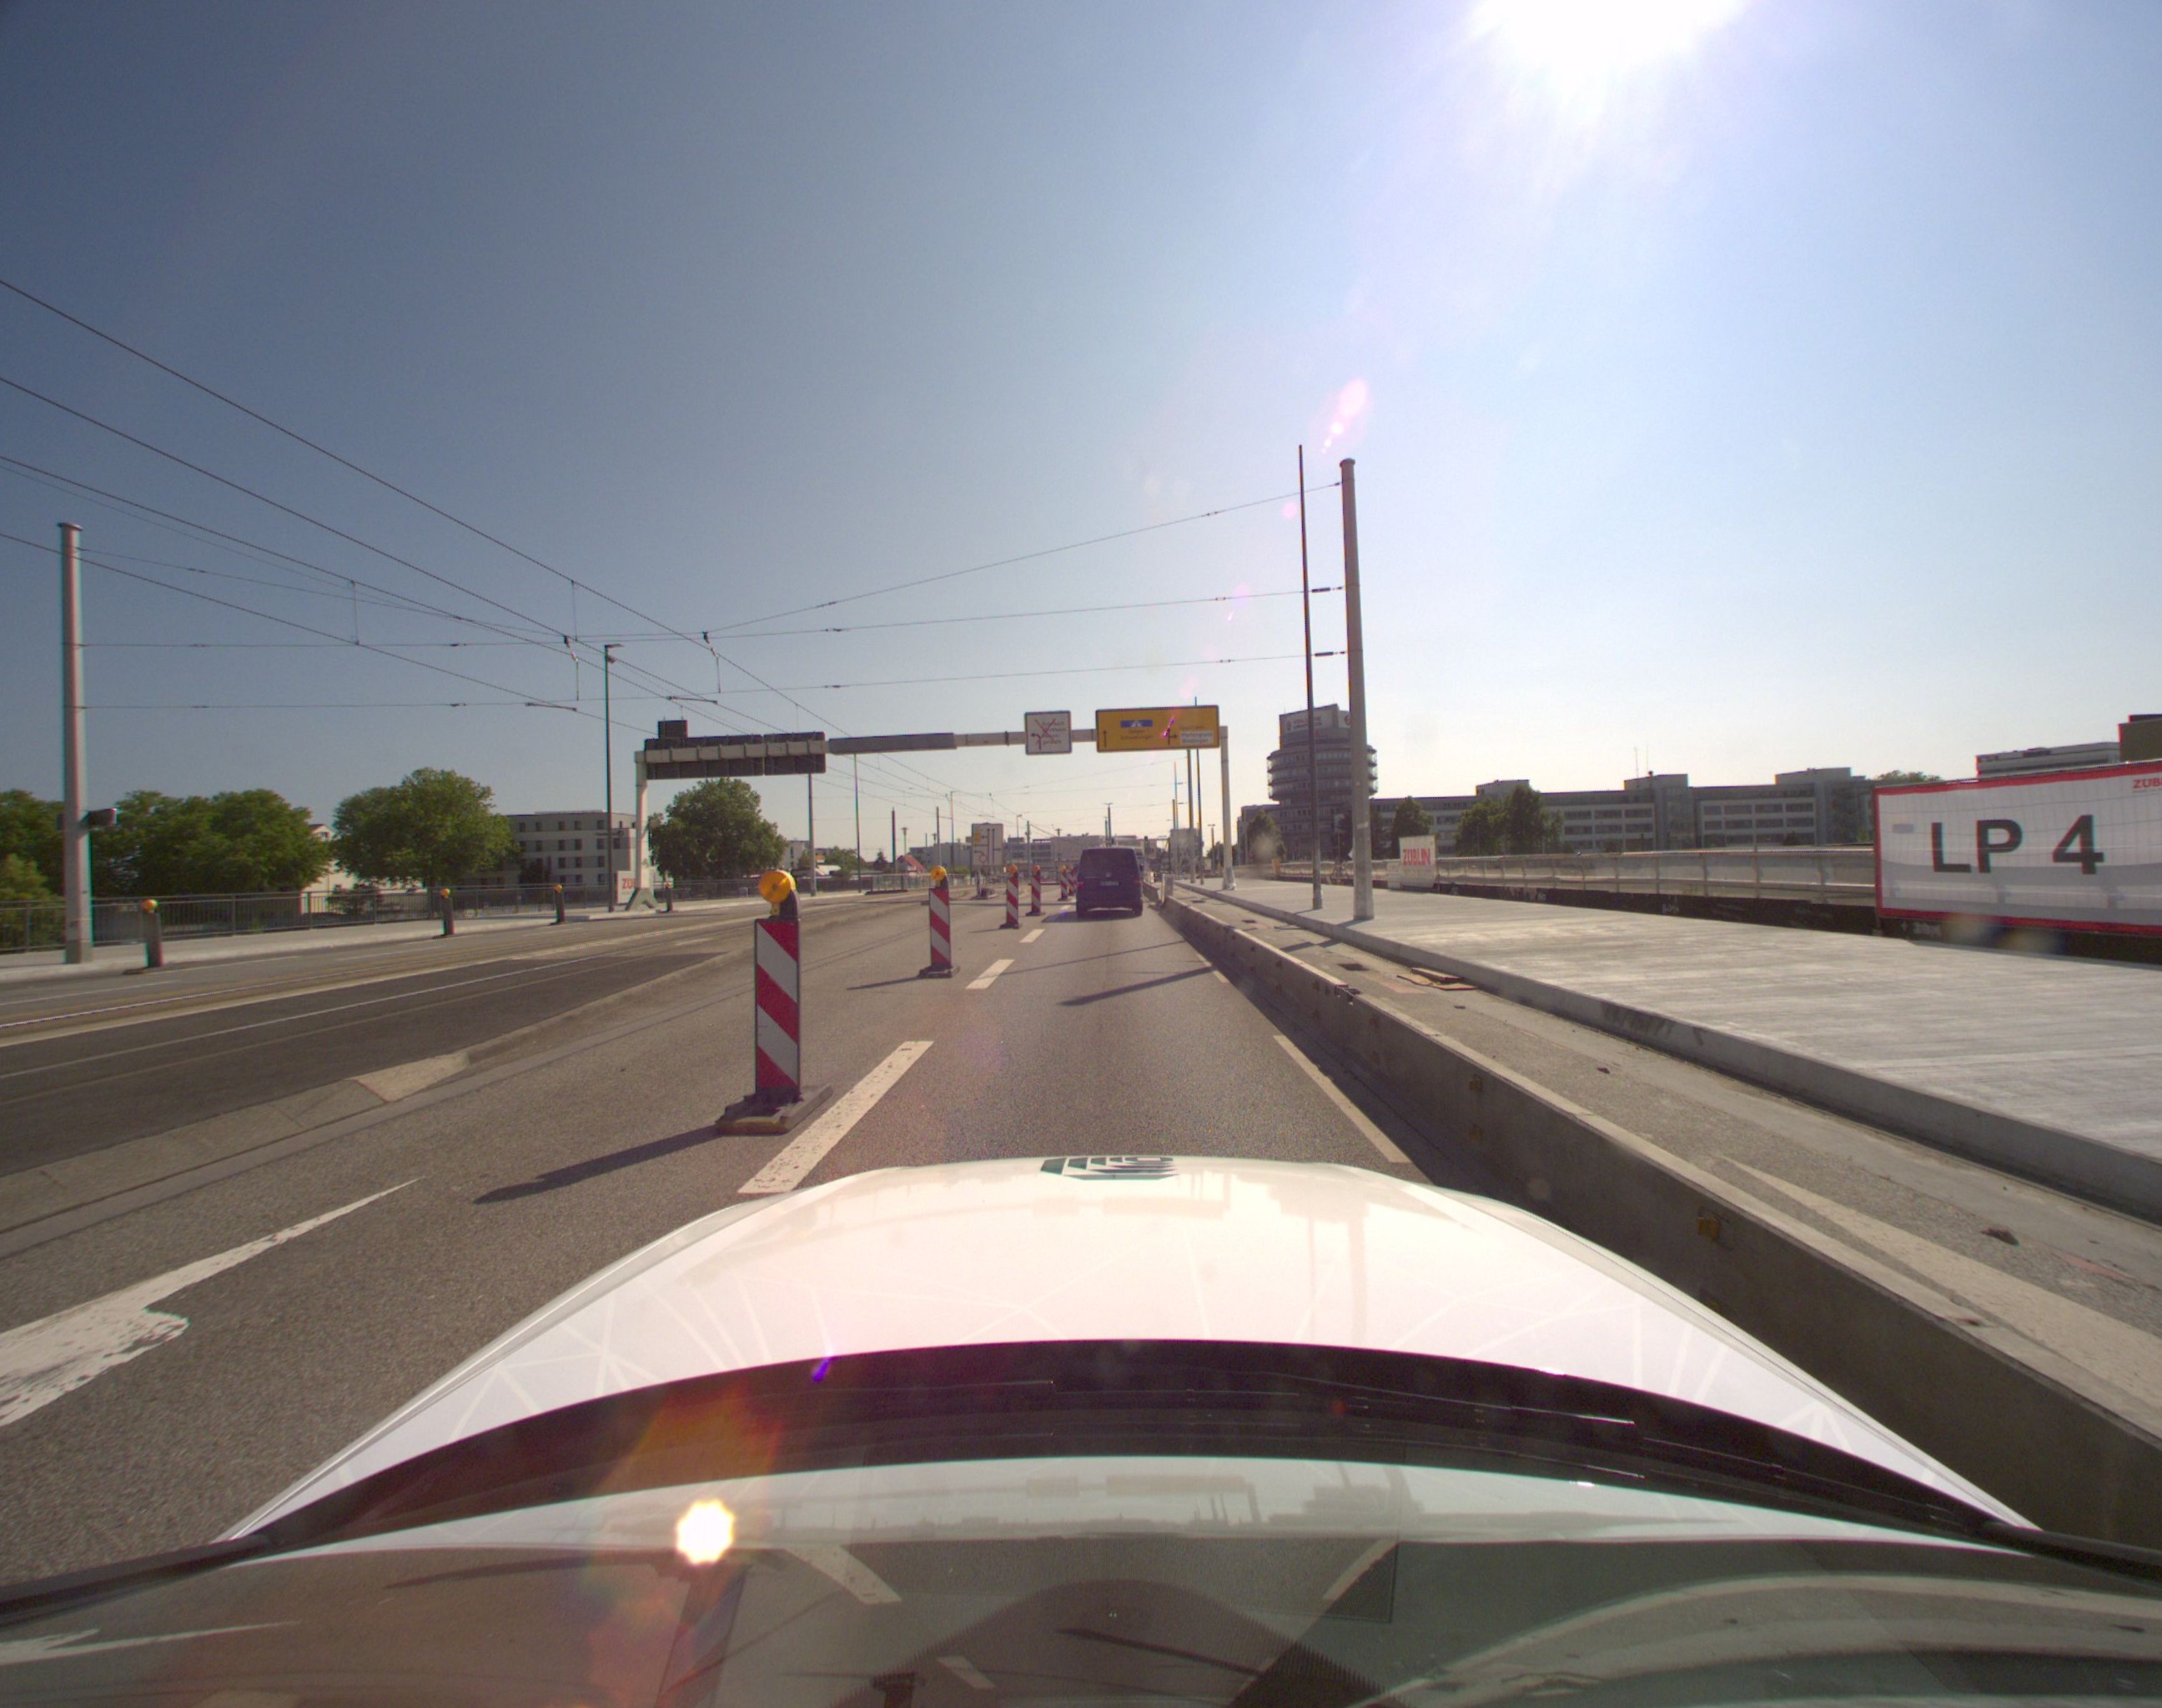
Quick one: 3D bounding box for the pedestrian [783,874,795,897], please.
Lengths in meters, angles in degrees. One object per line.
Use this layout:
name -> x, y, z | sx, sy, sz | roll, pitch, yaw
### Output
pedestrian -> -22.692, 2.440, 63.297 | 0.484, 1.687, 0.809 | -2, -1, 5

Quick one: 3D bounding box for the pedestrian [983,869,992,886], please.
pedestrian -> -9.750, 2.450, 84.815 | 0.655, 1.654, 0.742 | -2, -1, 15

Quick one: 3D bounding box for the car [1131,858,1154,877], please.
car -> 9.331, 1.998, 122.647 | 2.322, 2.887, 5.993 | -1, -1, 15

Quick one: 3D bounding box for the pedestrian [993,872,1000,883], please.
pedestrian -> -9.601, 2.674, 92.435 | 0.644, 1.274, 0.698 | -2, -2, 7

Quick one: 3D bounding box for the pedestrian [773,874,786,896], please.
pedestrian -> -23.308, 2.404, 62.877 | 0.595, 1.687, 0.819 | -2, -1, 5

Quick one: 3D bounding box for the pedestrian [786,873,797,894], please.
pedestrian -> -23.427, 2.406, 65.874 | 0.501, 1.687, 0.774 | -2, -1, 5

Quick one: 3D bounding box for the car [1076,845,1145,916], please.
car -> 0.850, 0.743, 24.123 | 1.881, 1.934, 4.001 | 0, -1, 1

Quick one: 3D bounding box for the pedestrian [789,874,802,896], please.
pedestrian -> -22.723, 2.433, 64.838 | 0.749, 1.687, 0.733 | -2, -1, 5
